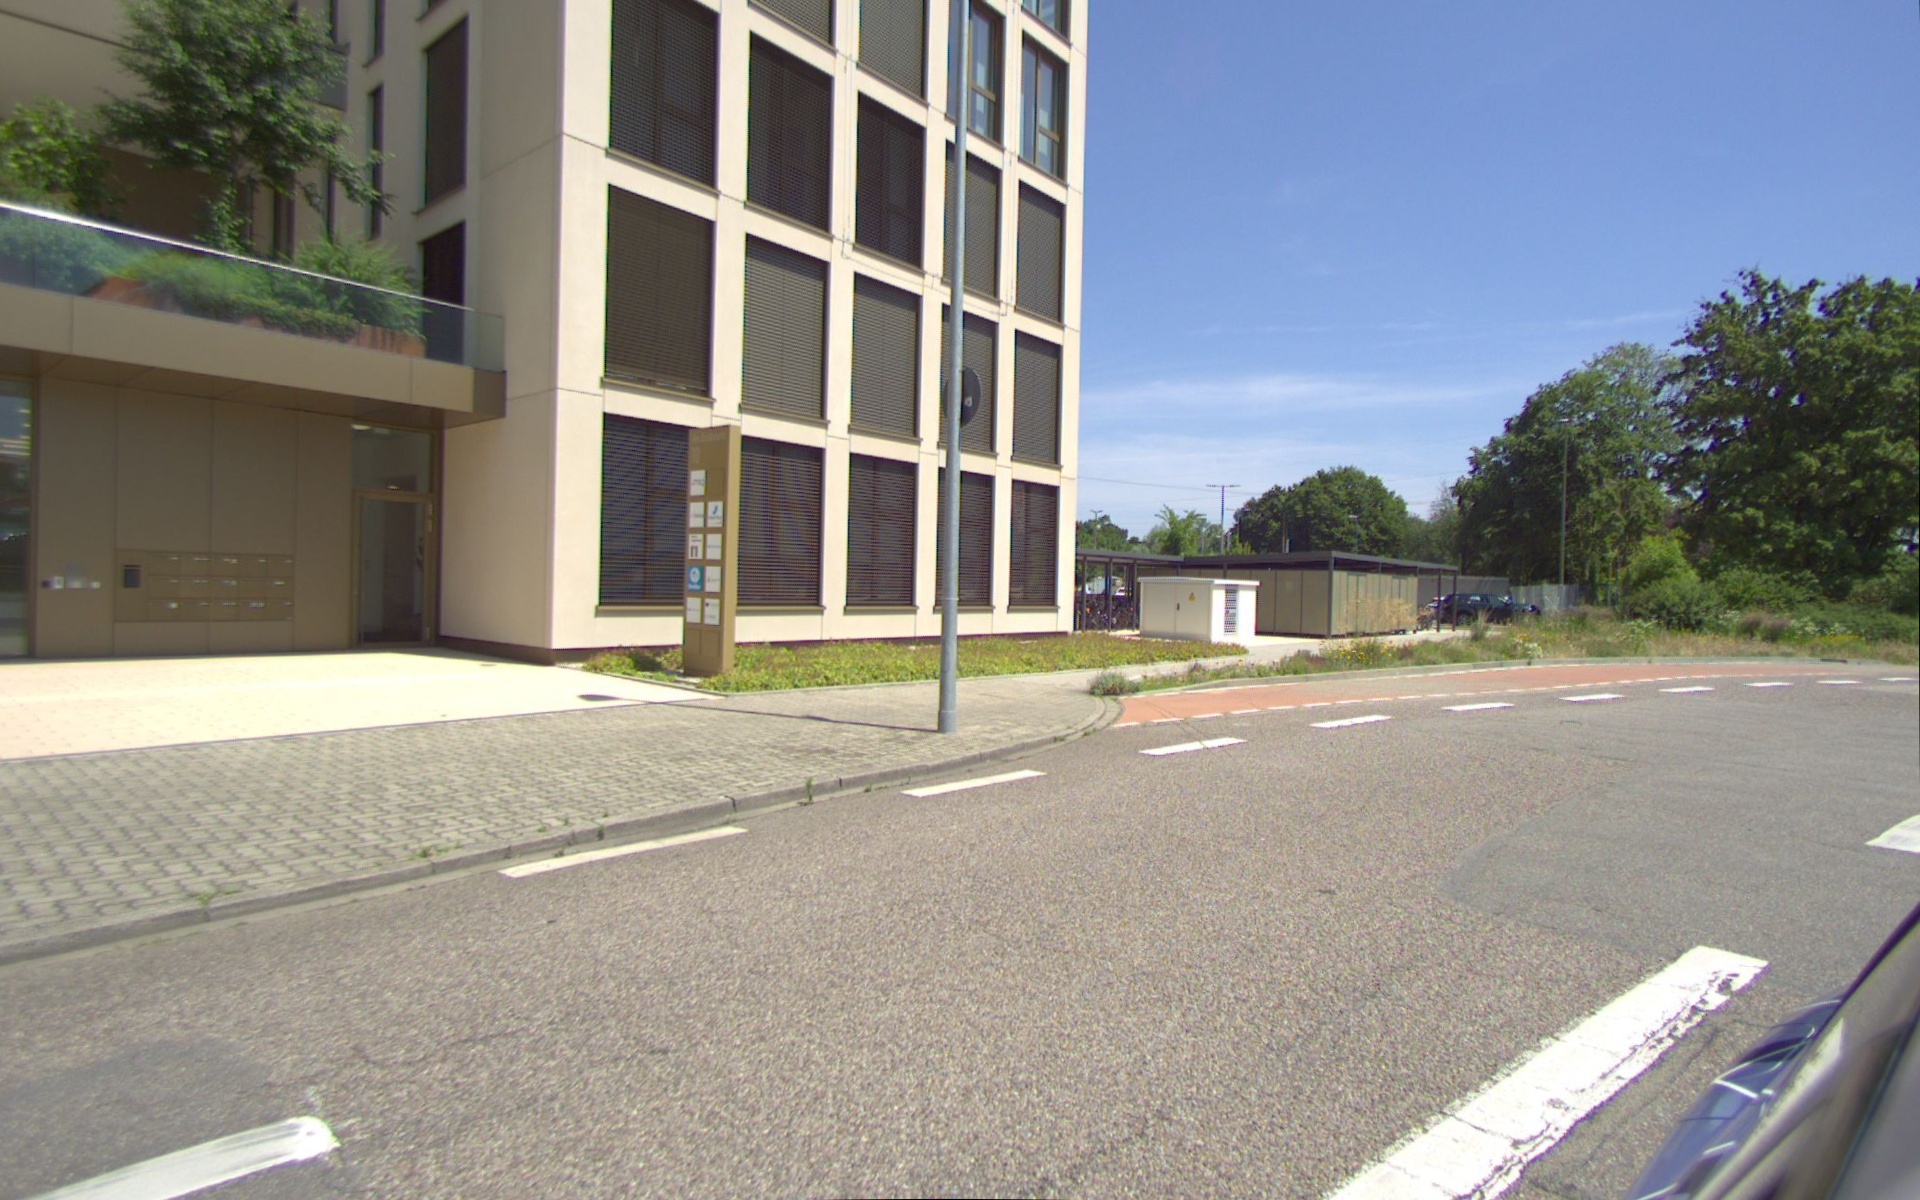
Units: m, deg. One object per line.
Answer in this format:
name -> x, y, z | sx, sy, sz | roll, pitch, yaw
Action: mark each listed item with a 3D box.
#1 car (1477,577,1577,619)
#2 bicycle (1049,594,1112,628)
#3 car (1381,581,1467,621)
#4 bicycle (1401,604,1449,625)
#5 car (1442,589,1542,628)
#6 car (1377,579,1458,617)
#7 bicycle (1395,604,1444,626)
car -> 28.736, -0.128, 51.424 | 3.943, 1.977, 1.991 | 2, 1, 15
bicycle -> 3.838, 0.334, 32.304 | 1.827, 1.014, 0.726 | 2, 1, 34
car -> 25.449, 0.030, 55.636 | 3.943, 2.039, 1.991 | 2, 1, 15
bicycle -> 20.819, 0.647, 45.337 | 1.856, 0.874, 0.575 | 3, 2, 39
car -> 25.610, 0.392, 48.868 | 3.945, 1.682, 1.829 | 2, 1, 17
car -> 26.275, -0.137, 58.254 | 3.943, 2.039, 1.991 | 2, 1, 15
bicycle -> 20.254, 0.639, 44.636 | 1.875, 0.874, 0.582 | 3, 2, 39
